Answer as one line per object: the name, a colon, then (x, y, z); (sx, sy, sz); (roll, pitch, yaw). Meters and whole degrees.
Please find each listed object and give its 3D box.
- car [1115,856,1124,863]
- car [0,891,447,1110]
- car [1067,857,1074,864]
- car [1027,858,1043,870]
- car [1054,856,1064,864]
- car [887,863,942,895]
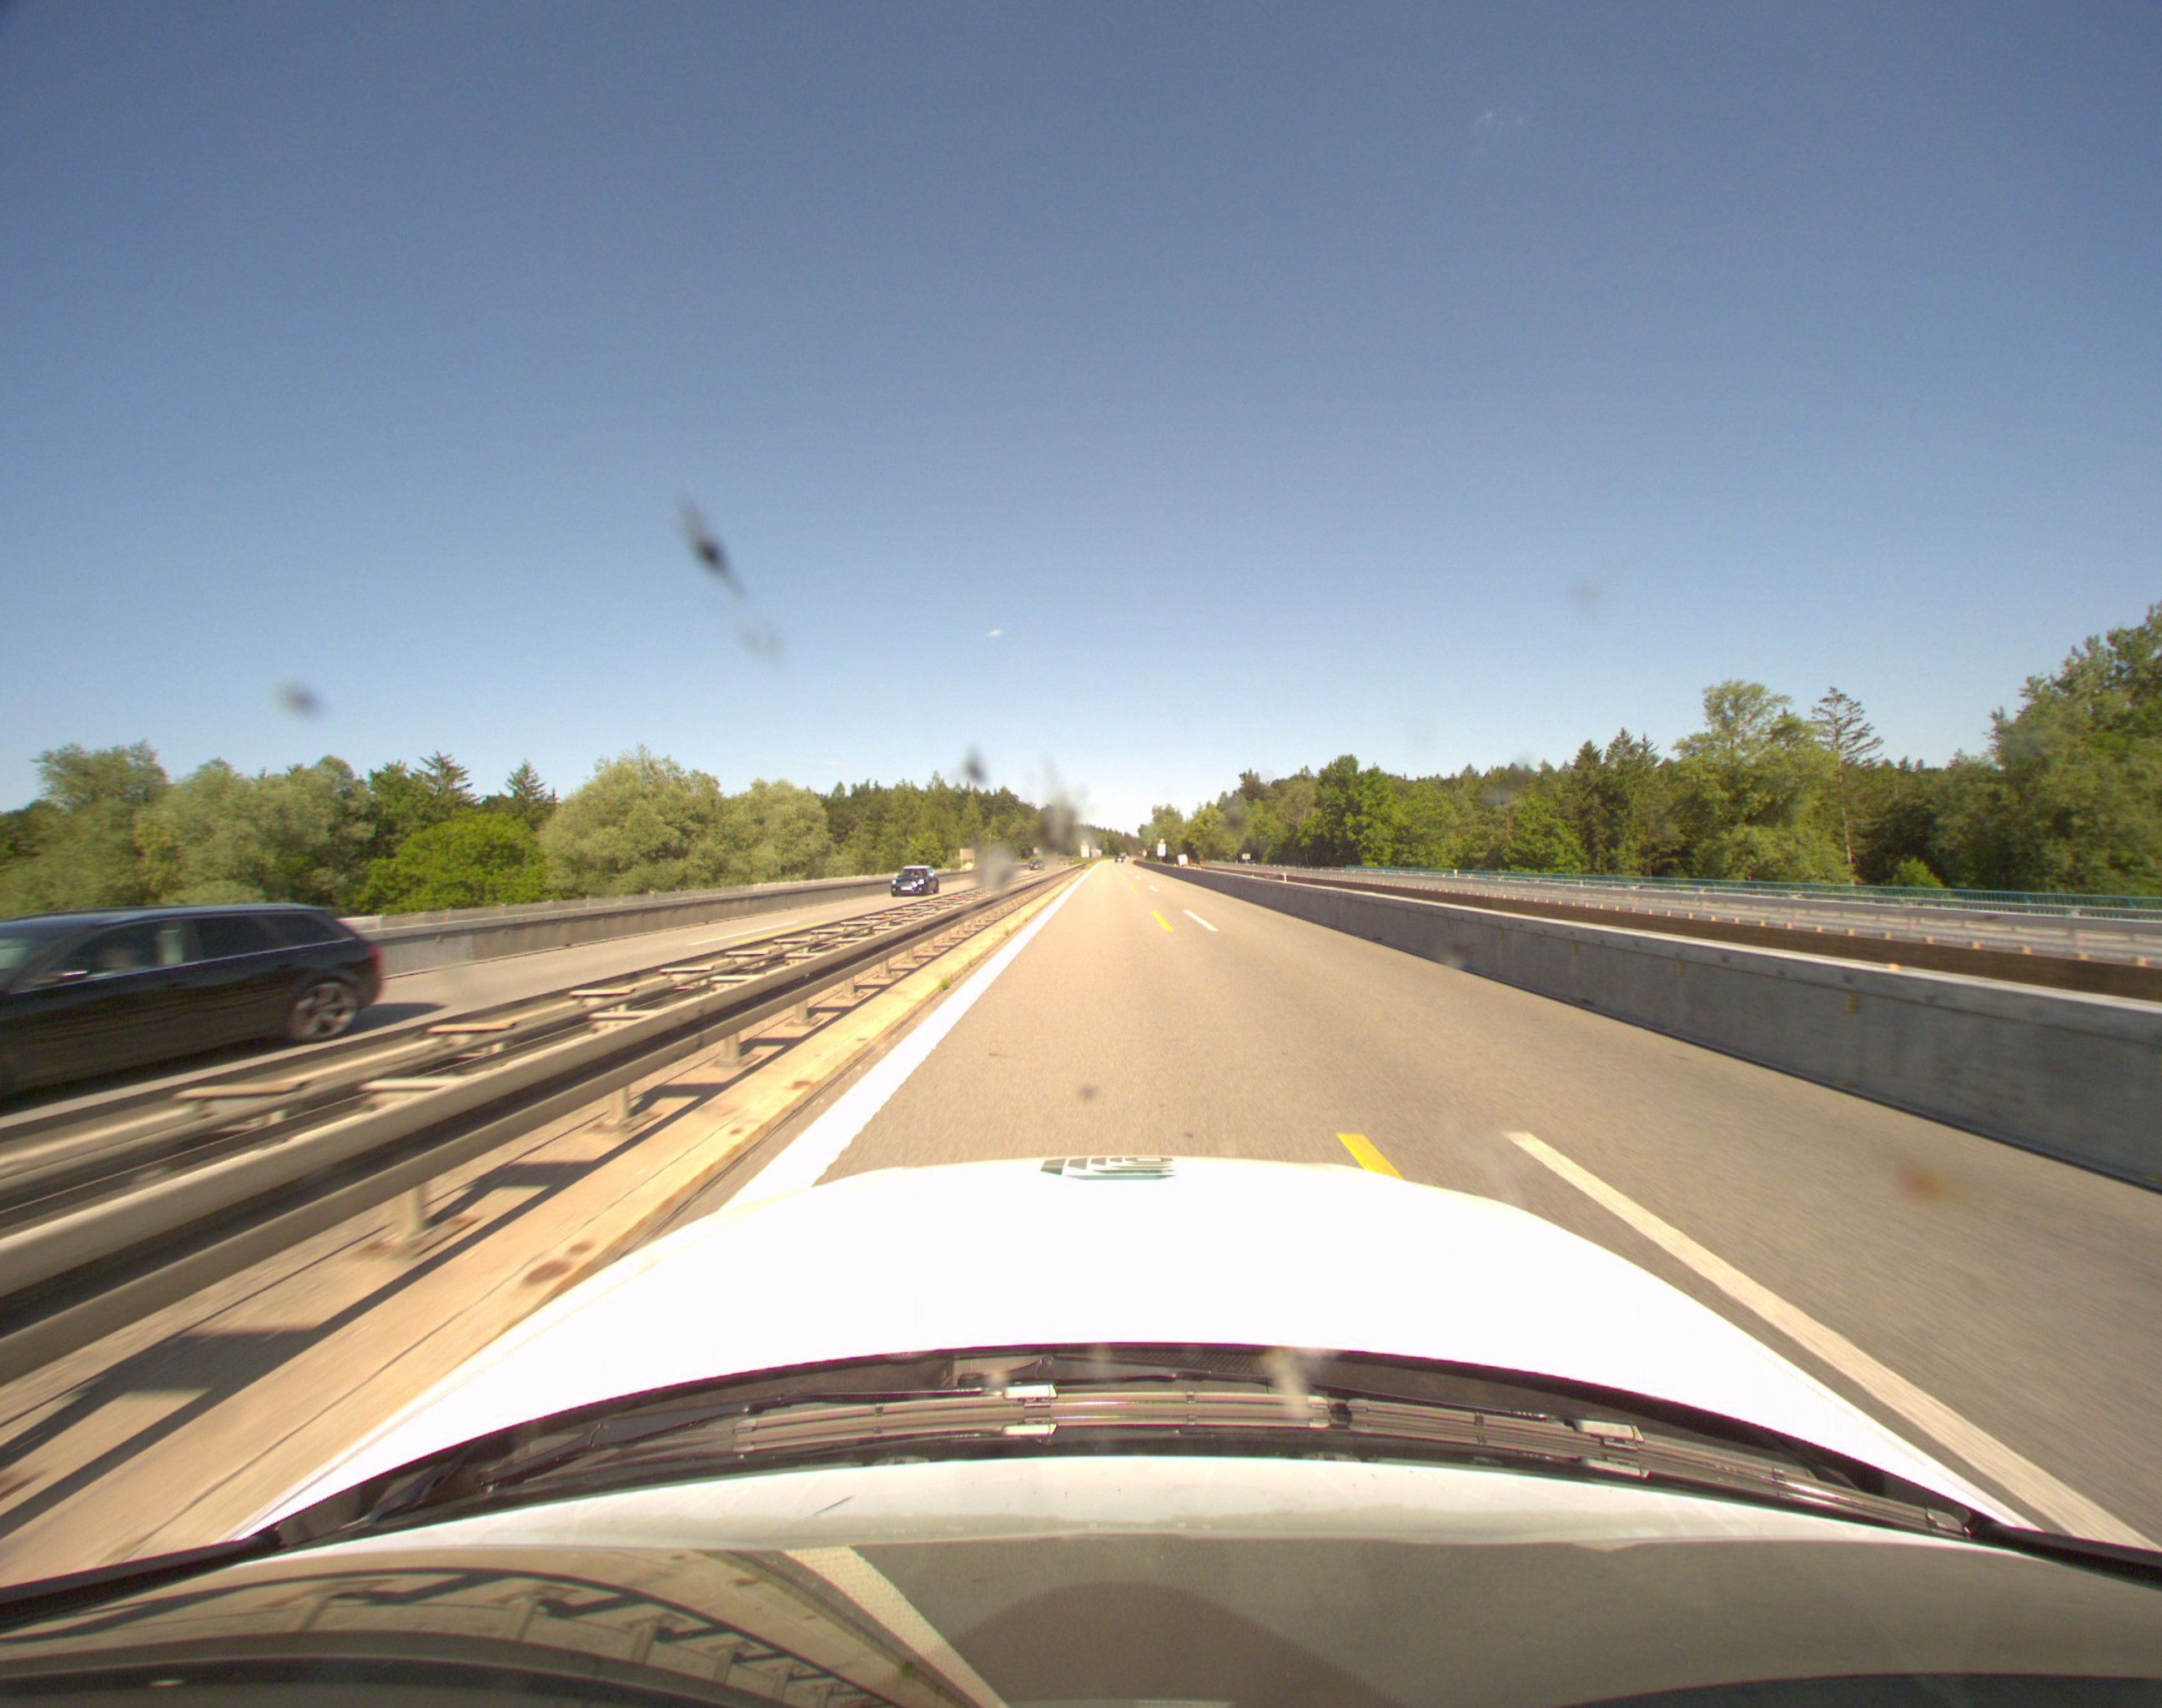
car: (8.360, 1.089, 176.111); (1.737, 1.466, 4.295); (-2, 0, 2)
car: (-8.433, 1.147, 7.233); (1.639, 1.377, 4.811); (-2, 0, 3)
car: (-2.650, 1.769, 209.537); (1.521, 1.562, 3.455); (-4, -2, 1)
car: (-6.097, 1.347, 109.056); (1.737, 1.466, 4.911); (-2, 0, 1)
car: (-4.435, 1.252, 165.865); (1.737, 1.466, 4.295); (-2, 0, 1)
car: (-7.993, 1.165, 39.467); (1.676, 1.393, 4.194); (-2, 0, 1)
